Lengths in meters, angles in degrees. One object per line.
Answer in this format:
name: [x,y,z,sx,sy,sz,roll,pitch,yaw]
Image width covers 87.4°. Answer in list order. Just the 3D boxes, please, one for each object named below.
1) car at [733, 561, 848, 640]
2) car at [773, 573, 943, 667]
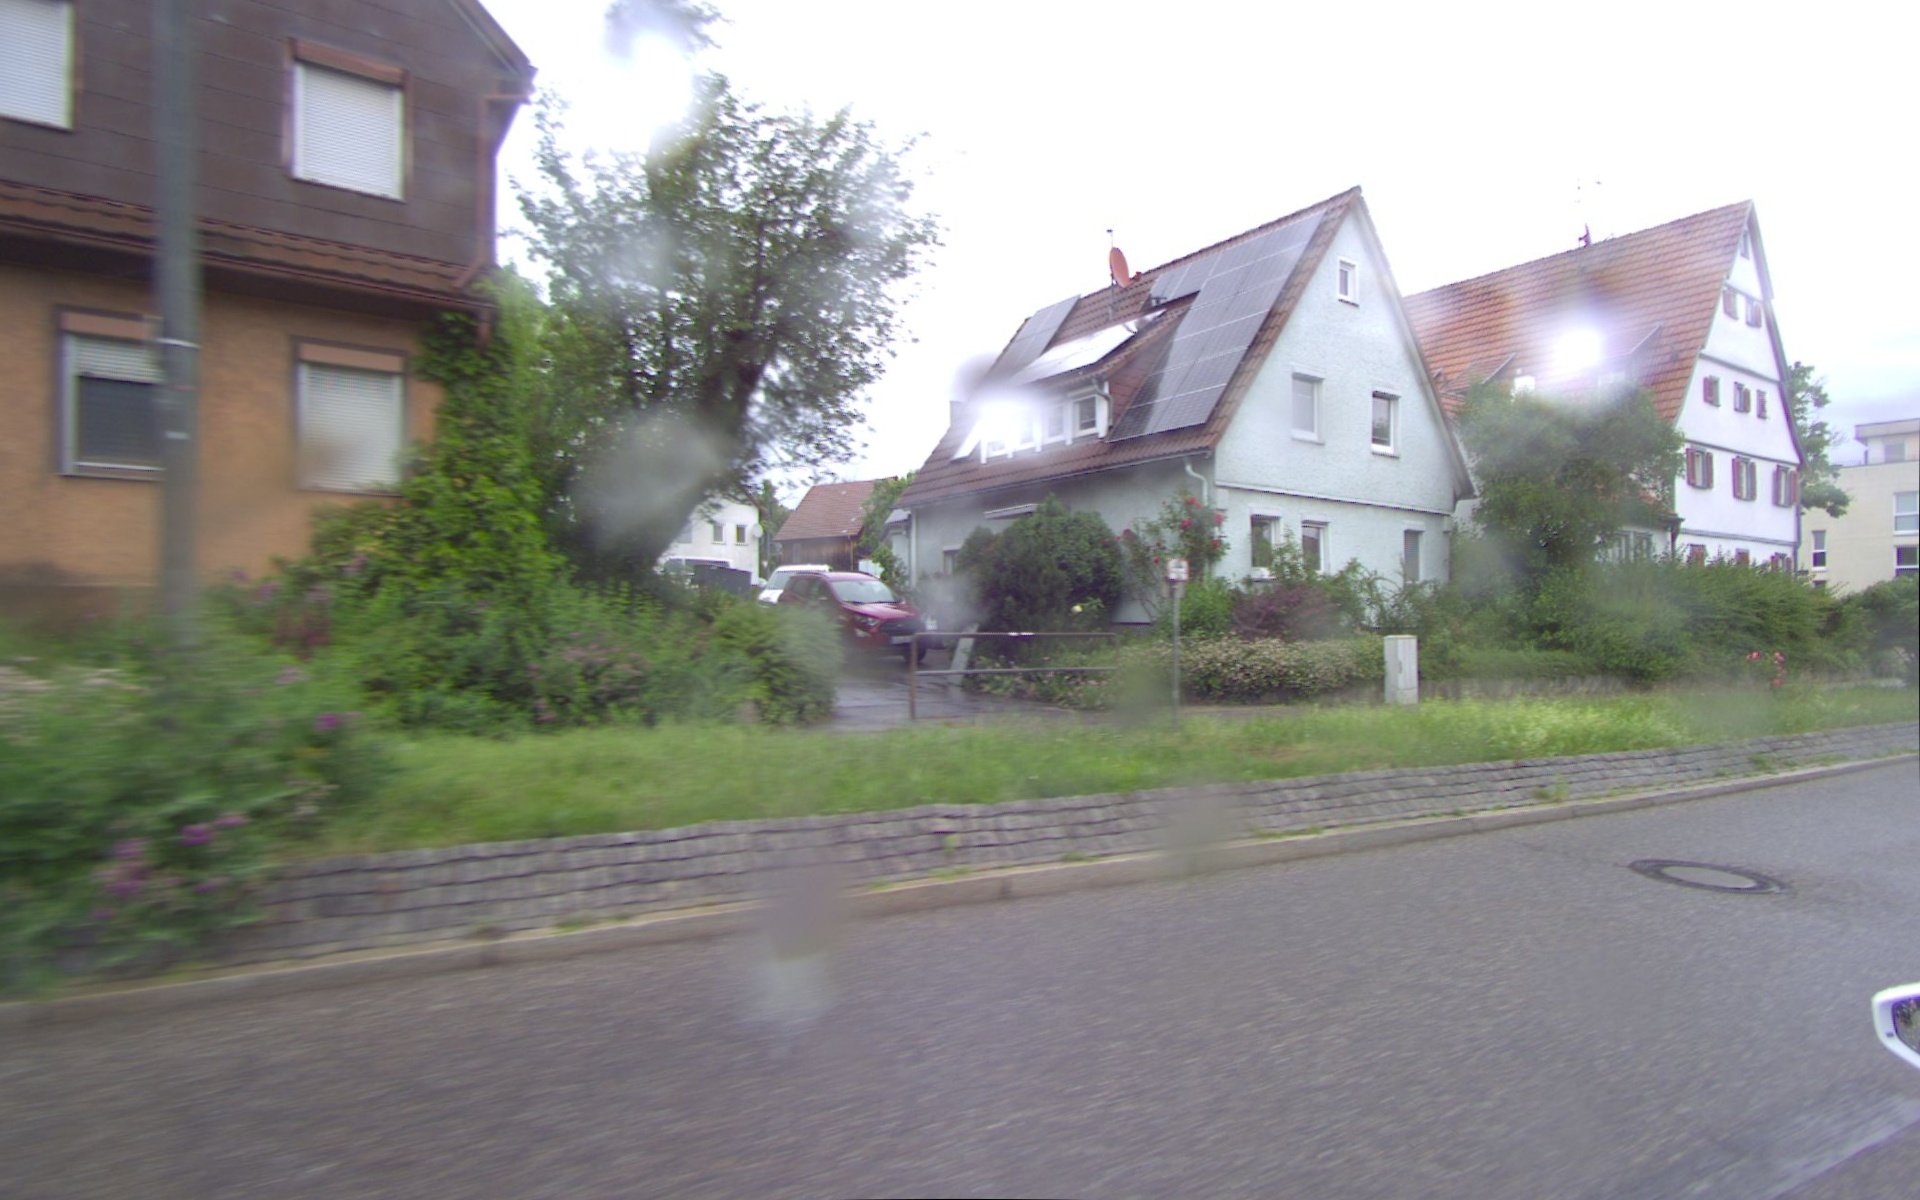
car: [-3.962,0.001,24.101,1.829,1.706,3.703,2,0,5]
car: [-2.081,0.313,19.471,1.759,1.571,3.966,1,2,-31]
